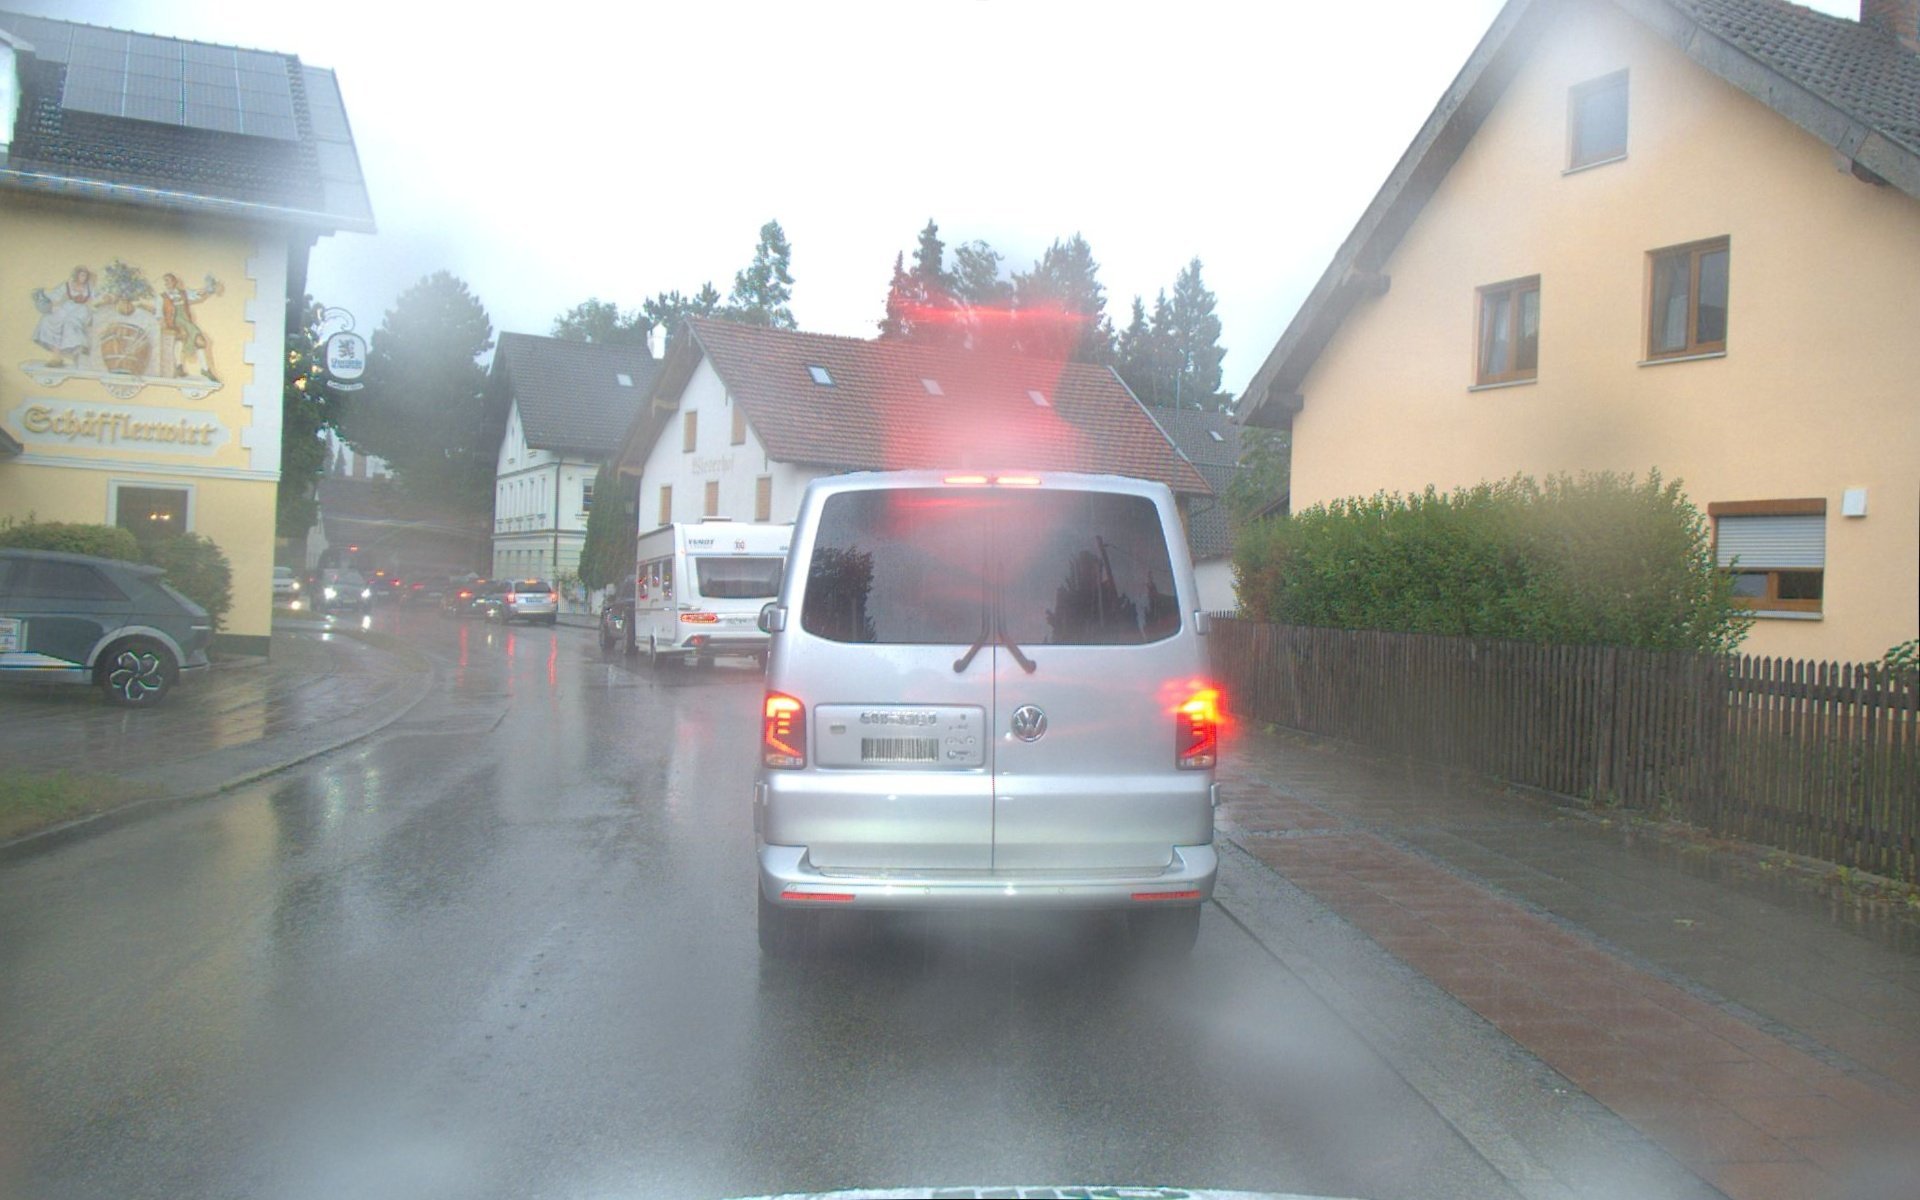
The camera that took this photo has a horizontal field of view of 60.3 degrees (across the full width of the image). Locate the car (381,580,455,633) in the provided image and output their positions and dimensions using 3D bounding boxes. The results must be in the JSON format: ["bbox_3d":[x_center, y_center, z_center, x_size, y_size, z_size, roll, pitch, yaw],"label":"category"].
[{"bbox_3d":[-22.491,0.247,68.536,2.143,1.932,4.971,2,1,-27],"label":"car"}]

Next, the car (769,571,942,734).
[{"bbox_3d":[-1.327,0.488,19.237,1.676,1.611,4.678,-1,1,-8],"label":"car"}]

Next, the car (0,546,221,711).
[{"bbox_3d":[-10.665,0.219,18.185,4.427,1.594,1.822,5,1,-30],"label":"car"}]

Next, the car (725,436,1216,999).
[{"bbox_3d":[0.020,0.414,8.437,1.740,1.997,5.073,0,0,-1],"label":"car"}]

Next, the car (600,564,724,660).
[{"bbox_3d":[-6.566,0.225,36.027,2.021,1.932,5.150,1,0,-17],"label":"car"}]

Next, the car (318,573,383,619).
[{"bbox_3d":[-24.141,-0.164,65.435,1.900,1.775,4.154,0,0,-28],"label":"car"}]

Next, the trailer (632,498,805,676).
[{"bbox_3d":[-4.613,-0.225,30.717,2.235,2.955,6.102,1,0,-17],"label":"trailer"}]

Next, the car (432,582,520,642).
[{"bbox_3d":[-17.618,0.400,60.084,2.143,1.932,4.971,2,1,-27],"label":"car"}]

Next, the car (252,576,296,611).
[{"bbox_3d":[-34.590,-0.332,83.344,1.733,1.707,3.963,0,0,-28],"label":"car"}]

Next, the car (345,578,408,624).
[{"bbox_3d":[-27.783,0.022,78.639,2.143,1.932,4.971,2,1,-27],"label":"car"}]

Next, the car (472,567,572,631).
[{"bbox_3d":[-14.468,-0.034,54.445,2.143,1.932,4.970,2,-1,-27],"label":"car"}]

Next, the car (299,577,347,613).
[{"bbox_3d":[-37.881,-0.331,98.277,2.143,1.932,4.971,2,1,-27],"label":"car"}]
